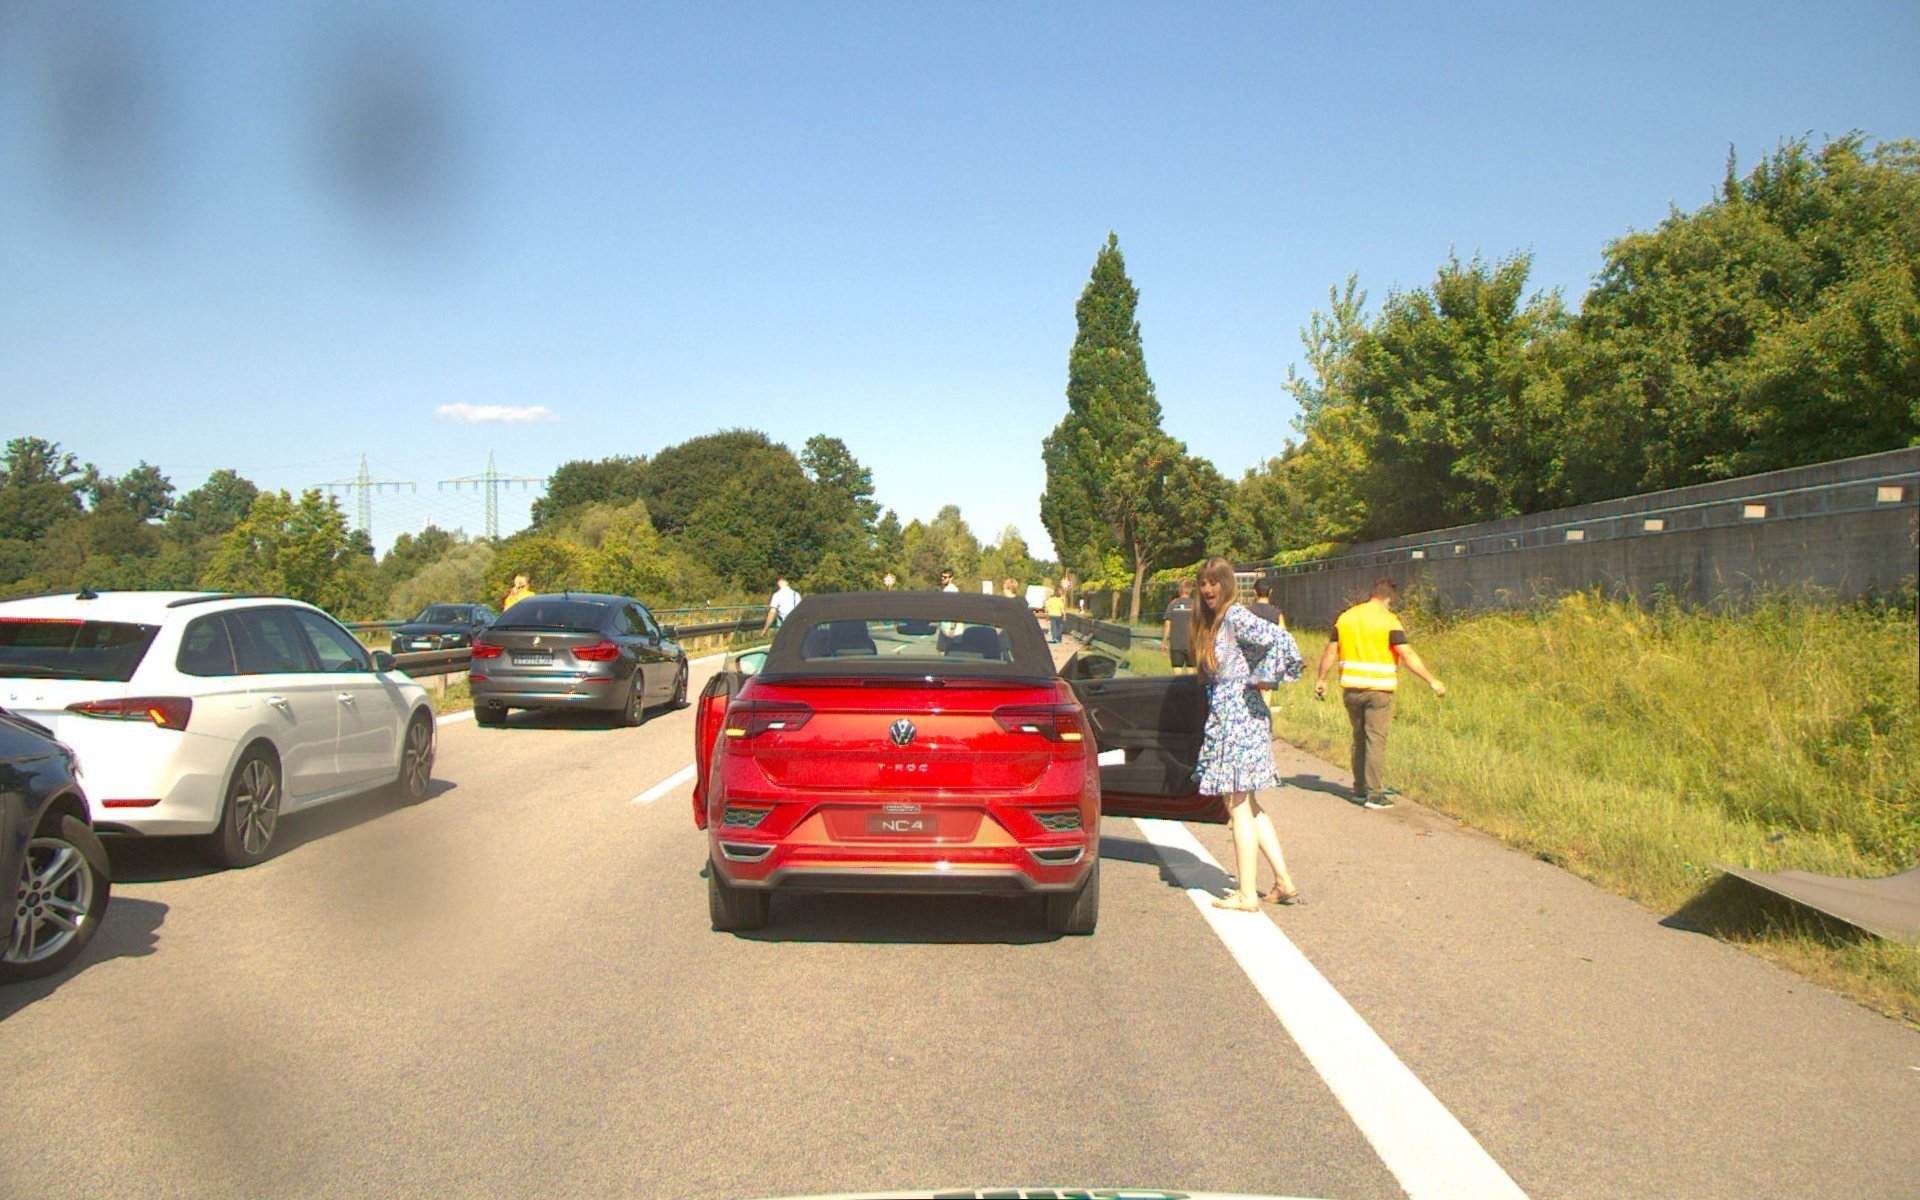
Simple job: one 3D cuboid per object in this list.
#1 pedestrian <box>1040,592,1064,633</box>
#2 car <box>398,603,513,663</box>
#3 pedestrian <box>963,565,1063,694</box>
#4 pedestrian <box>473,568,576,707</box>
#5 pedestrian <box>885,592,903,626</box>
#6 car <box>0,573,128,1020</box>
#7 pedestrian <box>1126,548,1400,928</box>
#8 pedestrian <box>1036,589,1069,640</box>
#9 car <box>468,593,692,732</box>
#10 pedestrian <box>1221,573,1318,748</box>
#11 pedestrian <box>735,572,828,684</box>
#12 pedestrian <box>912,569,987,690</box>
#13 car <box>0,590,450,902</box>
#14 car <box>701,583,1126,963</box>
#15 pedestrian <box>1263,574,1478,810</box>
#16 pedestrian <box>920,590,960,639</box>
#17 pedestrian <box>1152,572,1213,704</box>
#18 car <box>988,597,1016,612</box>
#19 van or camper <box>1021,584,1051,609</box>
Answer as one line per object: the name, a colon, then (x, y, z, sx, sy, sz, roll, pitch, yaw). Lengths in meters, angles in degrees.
pedestrian: (3.922, 0.518, 70.291, 0.975, 1.719, 1.011, 1, -1, 3)
car: (-13.349, 0.837, 44.032, 1.677, 1.450, 4.406, 1, 0, 0)
pedestrian: (0.815, 0.449, 25.512, 1.083, 1.915, 1.053, -2, 0, -40)
pedestrian: (-5.780, 0.486, 22.005, 1.019, 1.794, 1.119, -1, 0, 3)
pedestrian: (-3.383, 0.451, 84.434, 0.775, 1.719, 0.793, 1, -1, 5)
car: (-3.991, 0.676, 4.459, 1.754, 1.519, 4.485, -1, 0, -8)
pedestrian: (1.441, 0.627, 8.042, 1.103, 1.725, 0.892, -1, 0, -5)
pedestrian: (3.196, 0.501, 56.920, 1.033, 1.719, 1.018, 1, -1, 7)
car: (-4.398, 0.660, 19.779, 1.660, 1.451, 4.334, 1, 0, 0)
pedestrian: (3.182, 0.610, 17.080, 0.876, 1.755, 0.755, 1, -1, 4)
pedestrian: (-2.985, 0.455, 27.650, 1.071, 1.820, 1.102, 1, -1, 40)
pedestrian: (-0.192, 0.478, 27.518, 1.085, 1.946, 1.255, -1, 0, -8)
car: (-4.572, 0.687, 9.984, 1.660, 1.467, 4.210, 1, 0, 0)
car: (-0.186, 0.692, 8.792, 1.697, 1.513, 4.210, 1, 0, 0)
pedestrian: (3.082, 0.655, 12.481, 1.254, 1.682, 0.956, -1, 0, -18)
pedestrian: (-0.718, 0.527, 59.418, 0.962, 1.719, 1.103, 1, -1, -36)
pedestrian: (3.123, 0.523, 23.181, 0.794, 1.790, 0.829, 1, -1, 10)
car: (4.174, 0.440, 162.135, 1.696, 1.513, 4.213, 1, 0, 16)
van or camper: (7.402, -0.353, 160.994, 1.951, 2.356, 4.473, 1, 0, 16)
